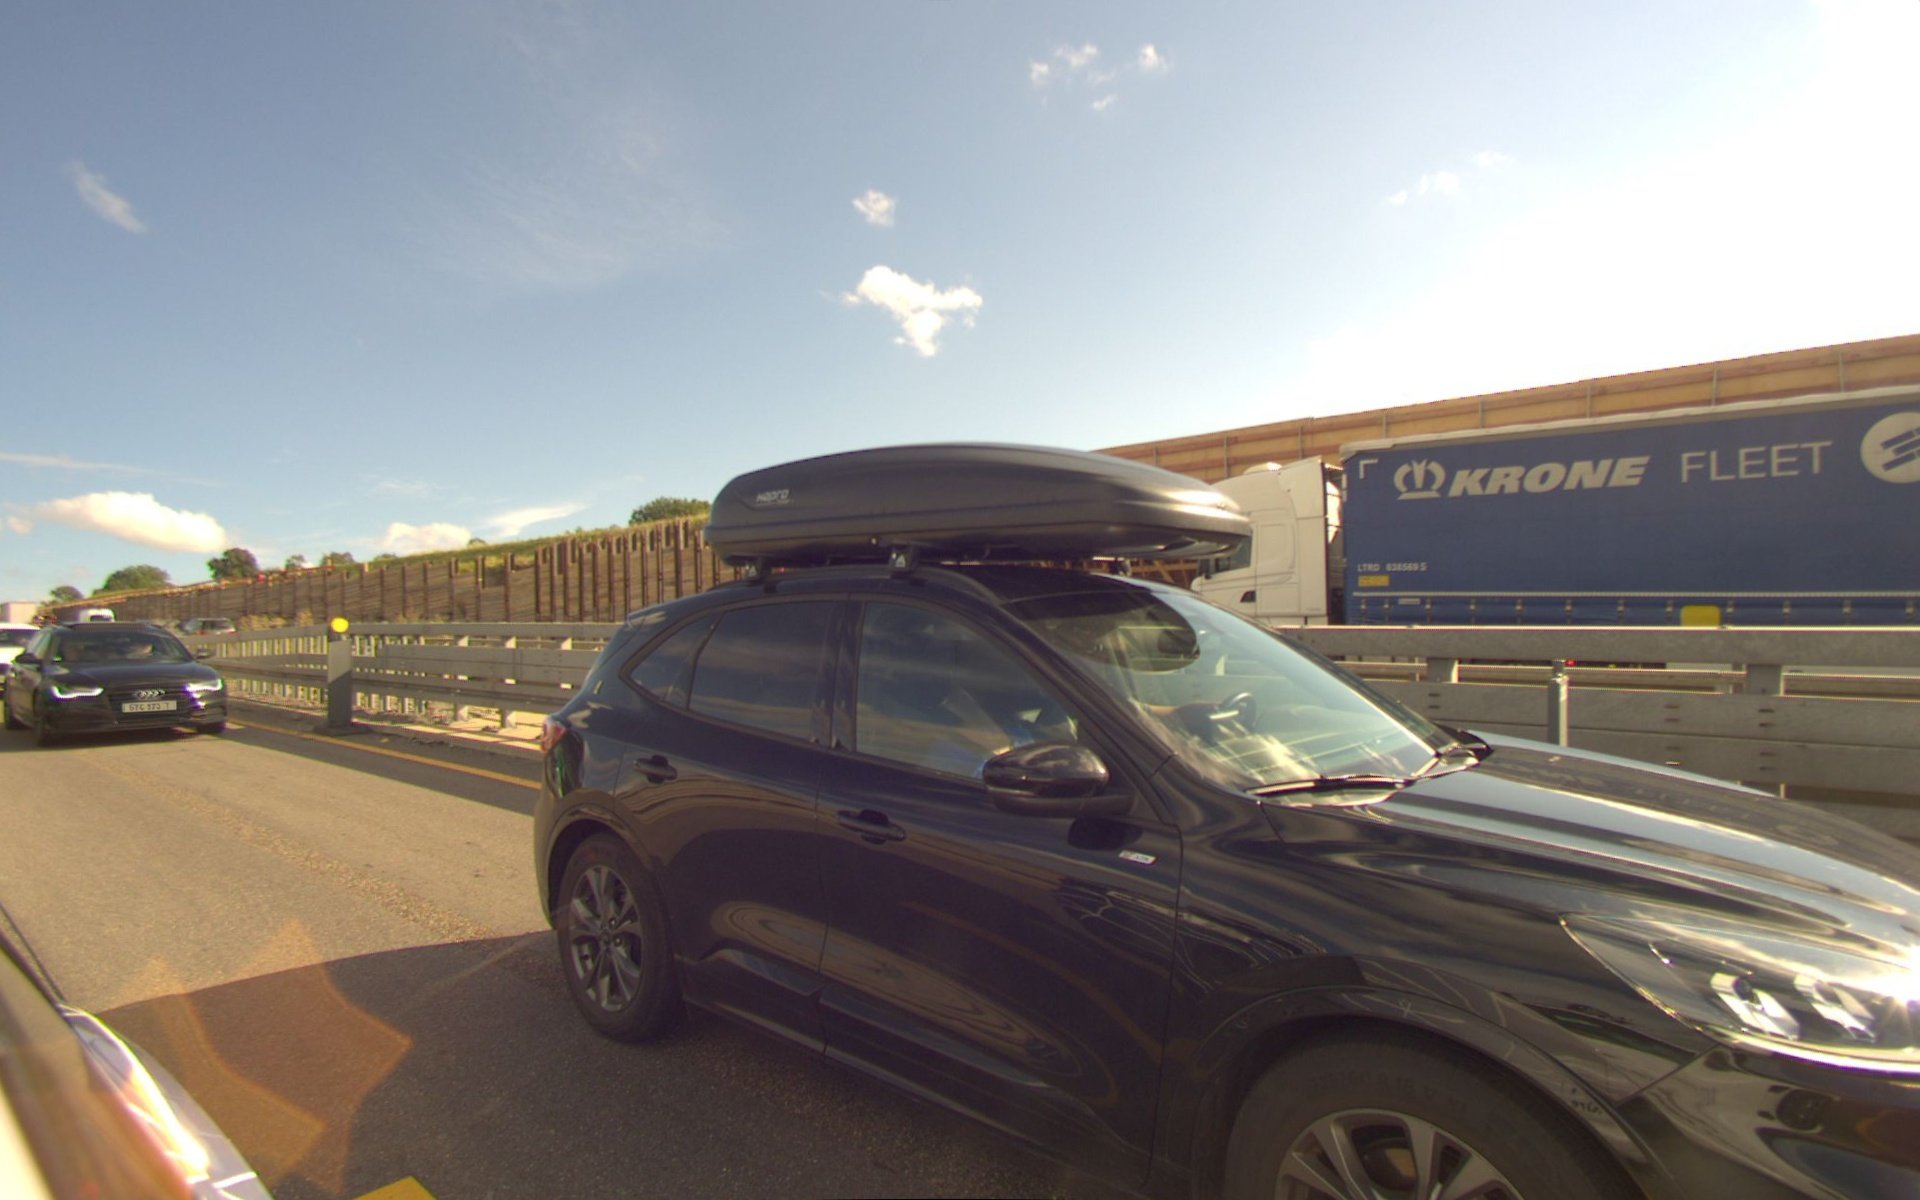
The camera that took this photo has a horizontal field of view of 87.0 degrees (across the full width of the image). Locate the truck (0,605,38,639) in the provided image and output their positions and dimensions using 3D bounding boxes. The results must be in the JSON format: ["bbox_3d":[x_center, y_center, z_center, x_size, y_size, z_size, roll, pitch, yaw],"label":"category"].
[{"bbox_3d":[-113.944,2.565,122.035,8.230,3.895,3.137,-1,0,41],"label":"truck"}]

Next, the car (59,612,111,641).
[{"bbox_3d":[-75.995,2.255,87.860,6.402,2.360,2.539,0,0,41],"label":"car"}]

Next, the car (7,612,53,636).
[{"bbox_3d":[-98.988,2.511,107.700,6.402,2.360,2.850,0,0,41],"label":"car"}]

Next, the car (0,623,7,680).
[{"bbox_3d":[-27.809,1.409,28.058,3.998,1.530,1.637,0,0,41],"label":"car"}]

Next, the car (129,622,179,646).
[{"bbox_3d":[-55.959,2.341,70.259,4.405,1.441,1.924,0,2,41],"label":"car"}]

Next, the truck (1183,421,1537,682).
[{"bbox_3d":[6.561,-0.679,16.837,4.808,3.656,2.812,-1,0,41],"label":"truck"}]

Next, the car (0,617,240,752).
[{"bbox_3d":[-11.299,0.982,13.466,4.505,1.441,1.923,0,-1,43],"label":"car"}]

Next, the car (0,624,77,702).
[{"bbox_3d":[-19.721,1.241,20.708,4.406,1.441,1.924,-1,0,41],"label":"car"}]

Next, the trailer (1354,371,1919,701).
[{"bbox_3d":[12.044,-0.723,12.093,13.522,3.694,2.833,0,0,41],"label":"trailer"}]

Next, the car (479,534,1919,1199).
[{"bbox_3d":[0.471,0.670,2.957,4.382,1.554,1.781,0,2,41],"label":"car"}]

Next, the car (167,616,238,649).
[{"bbox_3d":[-38.157,1.592,50.952,4.405,1.441,1.924,0,2,41],"label":"car"}]
